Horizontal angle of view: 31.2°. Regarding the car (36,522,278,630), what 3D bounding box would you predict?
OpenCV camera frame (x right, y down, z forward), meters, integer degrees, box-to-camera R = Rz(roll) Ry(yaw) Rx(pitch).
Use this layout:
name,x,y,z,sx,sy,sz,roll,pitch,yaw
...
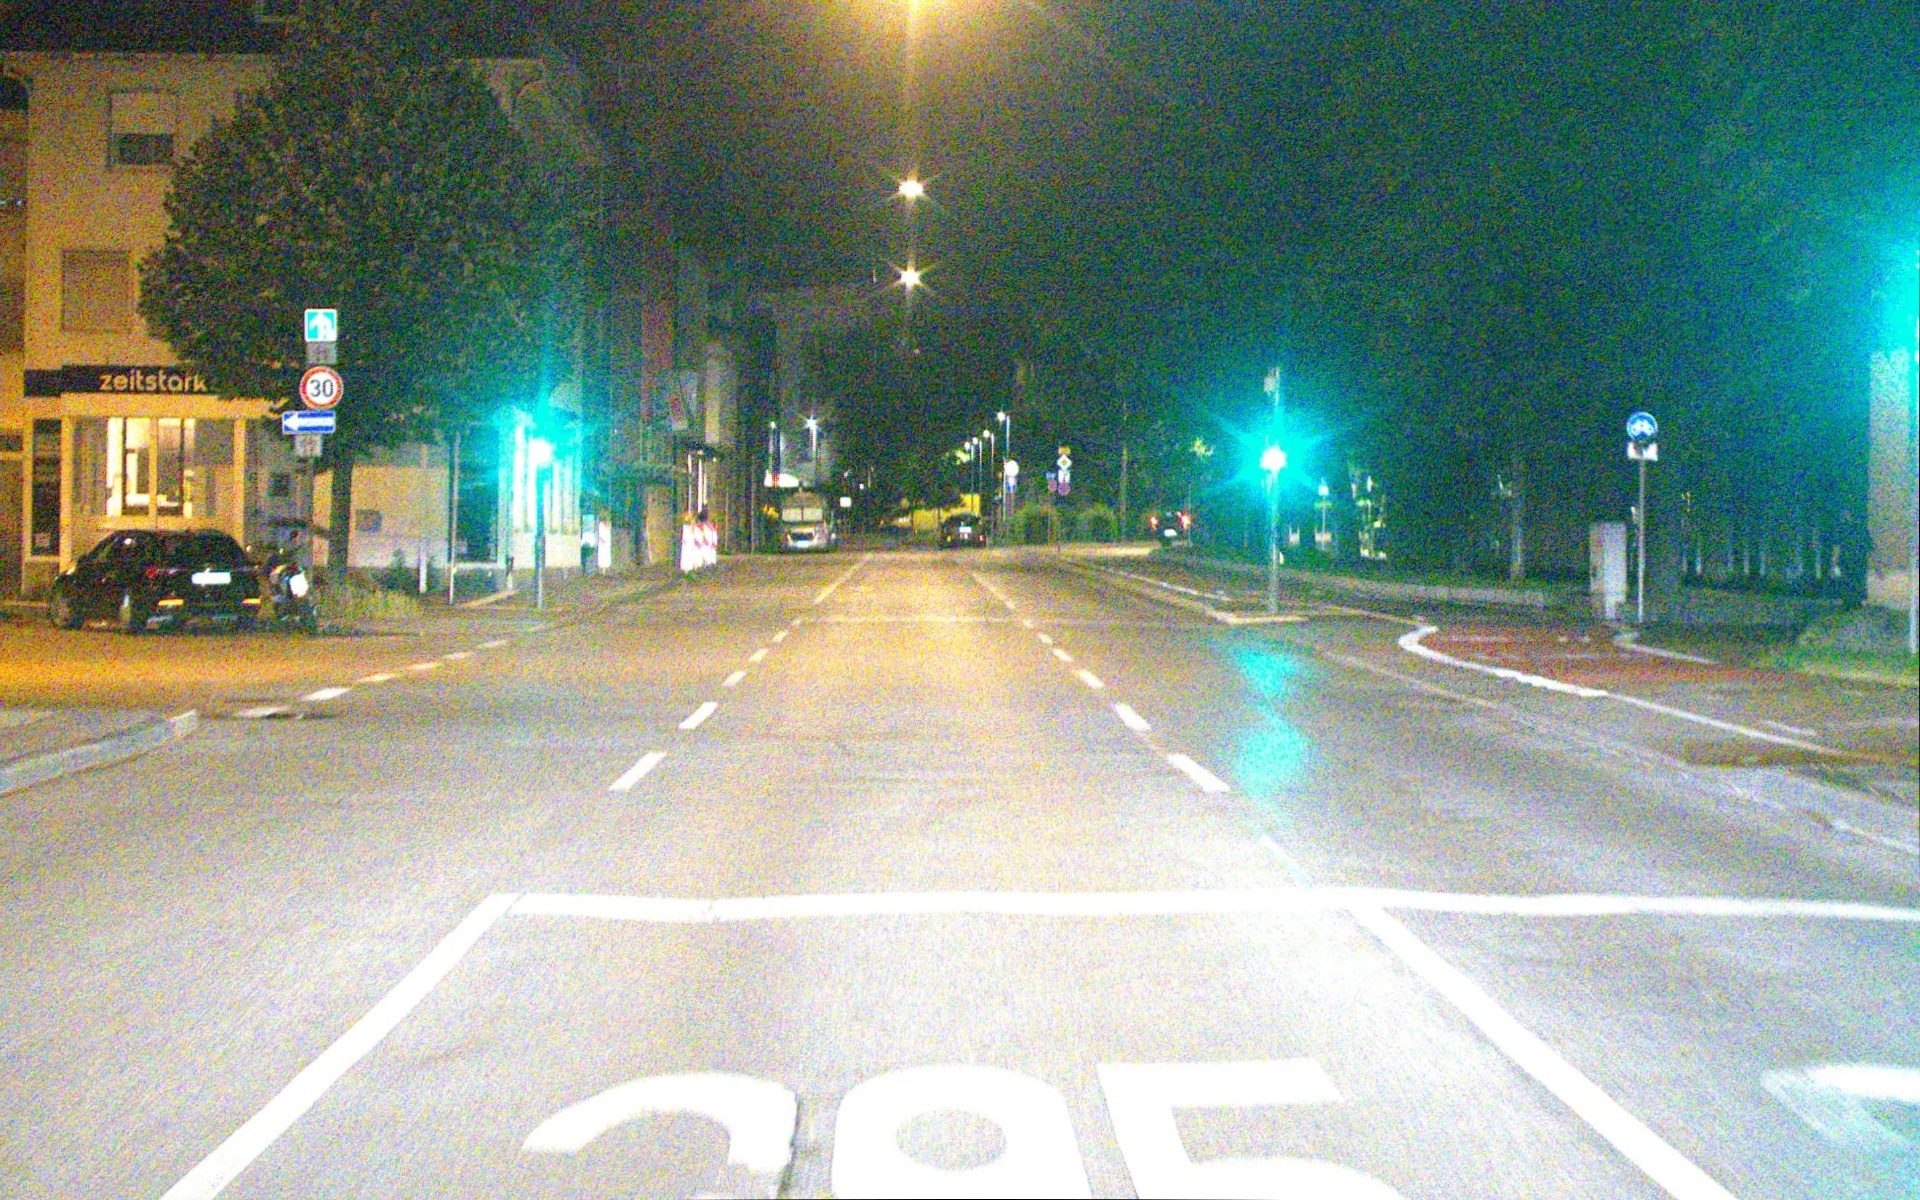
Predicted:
name,x,y,z,sx,sy,sz,roll,pitch,yaw
car,-11.384,-0.367,48.525,1.886,1.419,4.730,-2,2,-32

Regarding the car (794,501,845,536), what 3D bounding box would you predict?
name,x,y,z,sx,sy,sz,roll,pitch,yaw
car,-6.319,-3.670,154.295,1.838,1.502,4.743,-1,1,-7

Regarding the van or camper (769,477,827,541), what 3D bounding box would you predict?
name,x,y,z,sx,sy,sz,roll,pitch,yaw
van or camper,-6.733,-3.781,143.351,2.158,2.527,6.227,-2,1,-1

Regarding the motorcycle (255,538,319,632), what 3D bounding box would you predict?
name,x,y,z,sx,sy,sz,roll,pitch,yaw
motorcycle,-8.833,-0.209,45.085,0.571,1.175,2.033,-1,2,-18

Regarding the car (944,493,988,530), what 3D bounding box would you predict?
name,x,y,z,sx,sy,sz,roll,pitch,yaw
car,0.275,-3.963,153.855,1.884,1.597,4.107,-2,1,1

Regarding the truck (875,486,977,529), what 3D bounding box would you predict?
name,x,y,z,sx,sy,sz,roll,pitch,yaw
truck,-2.299,-6.253,231.424,6.775,2.834,2.000,0,2,-3

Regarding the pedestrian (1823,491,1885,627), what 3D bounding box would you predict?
name,x,y,z,sx,sy,sz,roll,pitch,yaw
pedestrian,11.984,-0.551,46.108,0.621,1.805,0.759,0,1,0

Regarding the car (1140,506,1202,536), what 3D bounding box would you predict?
name,x,y,z,sx,sy,sz,roll,pitch,yaw
car,9.497,-3.556,154.604,1.665,1.338,3.621,0,2,23
